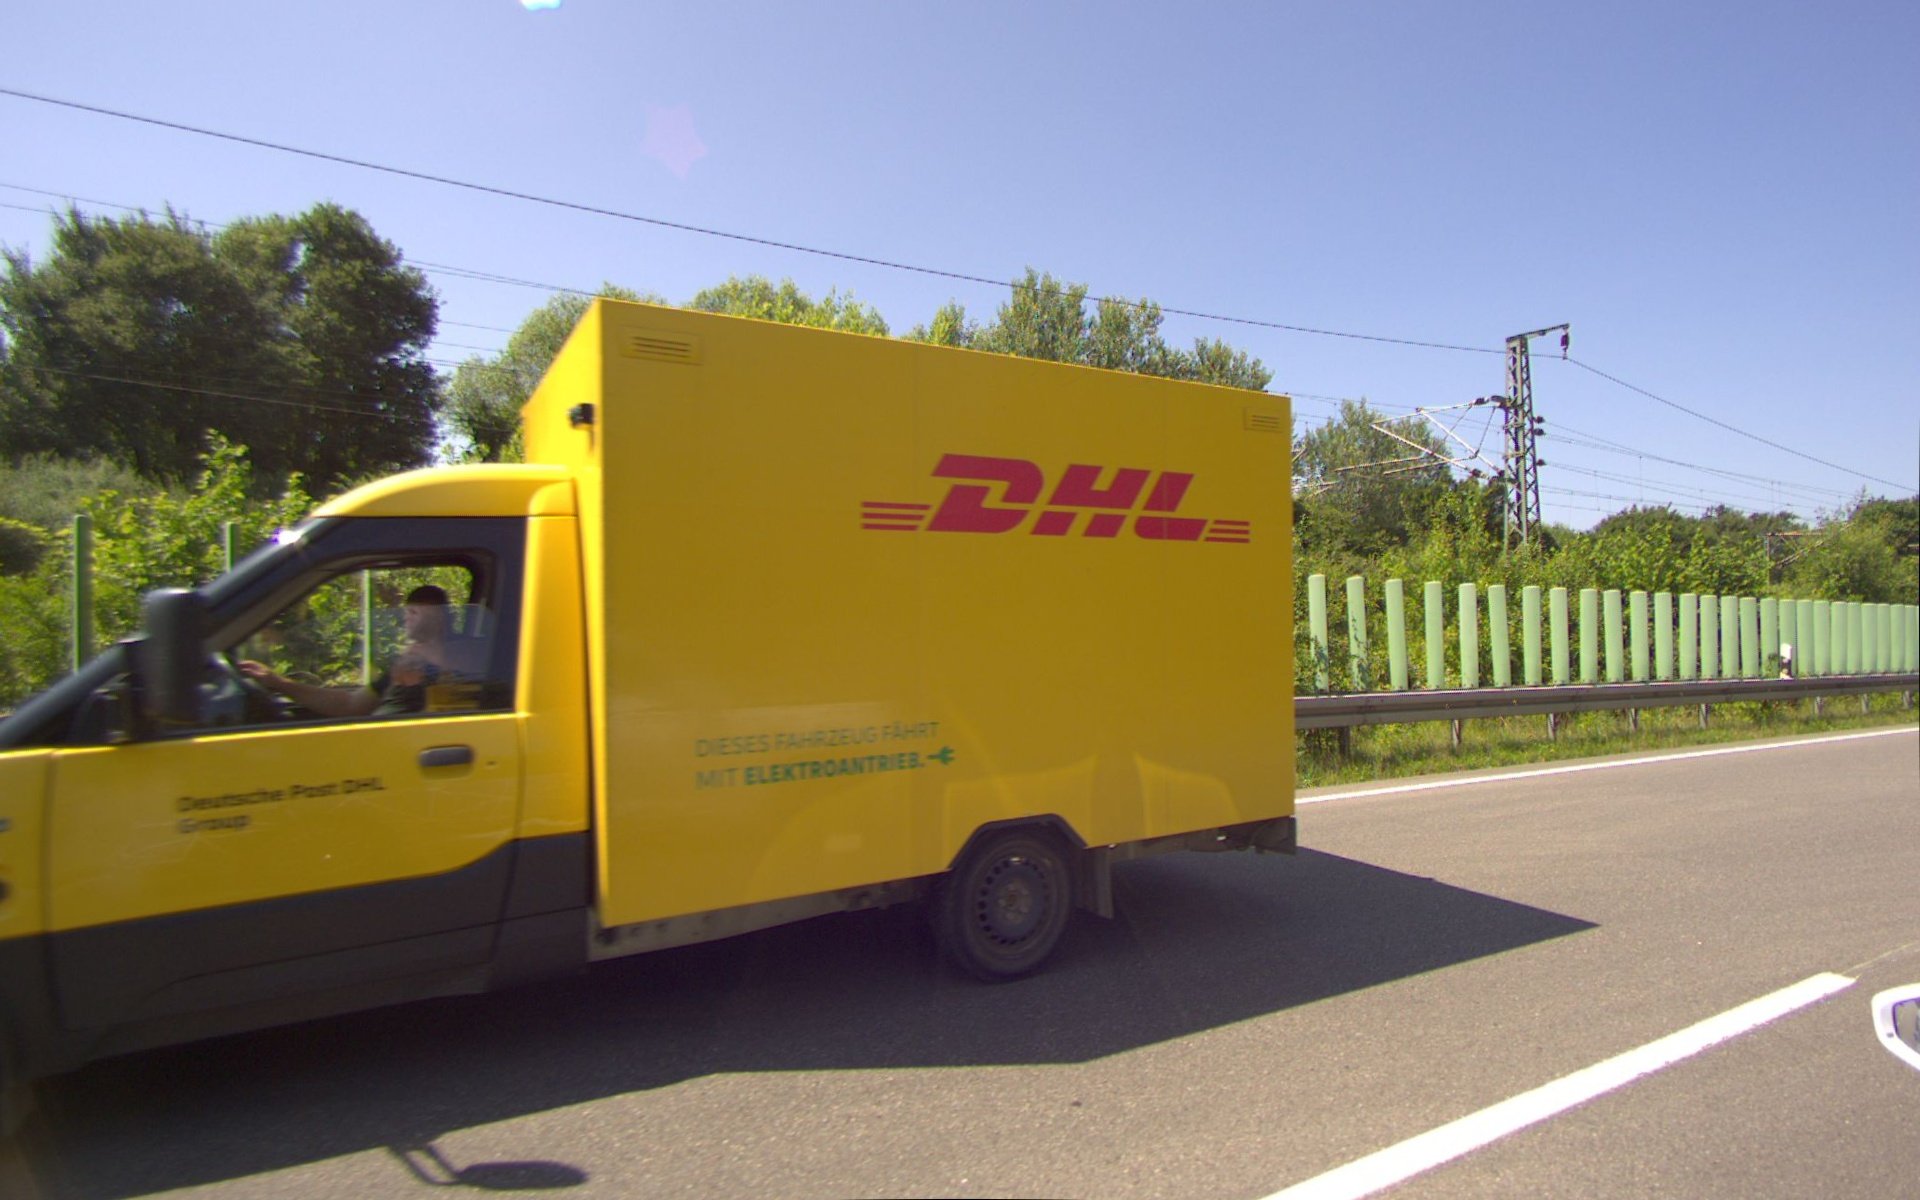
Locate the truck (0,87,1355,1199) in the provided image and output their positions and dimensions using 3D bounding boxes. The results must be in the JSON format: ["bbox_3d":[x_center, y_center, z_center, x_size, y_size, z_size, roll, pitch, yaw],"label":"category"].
[{"bbox_3d":[-1.002,0.170,4.366,5.639,2.682,2.069,1,0,-31],"label":"truck"}]
